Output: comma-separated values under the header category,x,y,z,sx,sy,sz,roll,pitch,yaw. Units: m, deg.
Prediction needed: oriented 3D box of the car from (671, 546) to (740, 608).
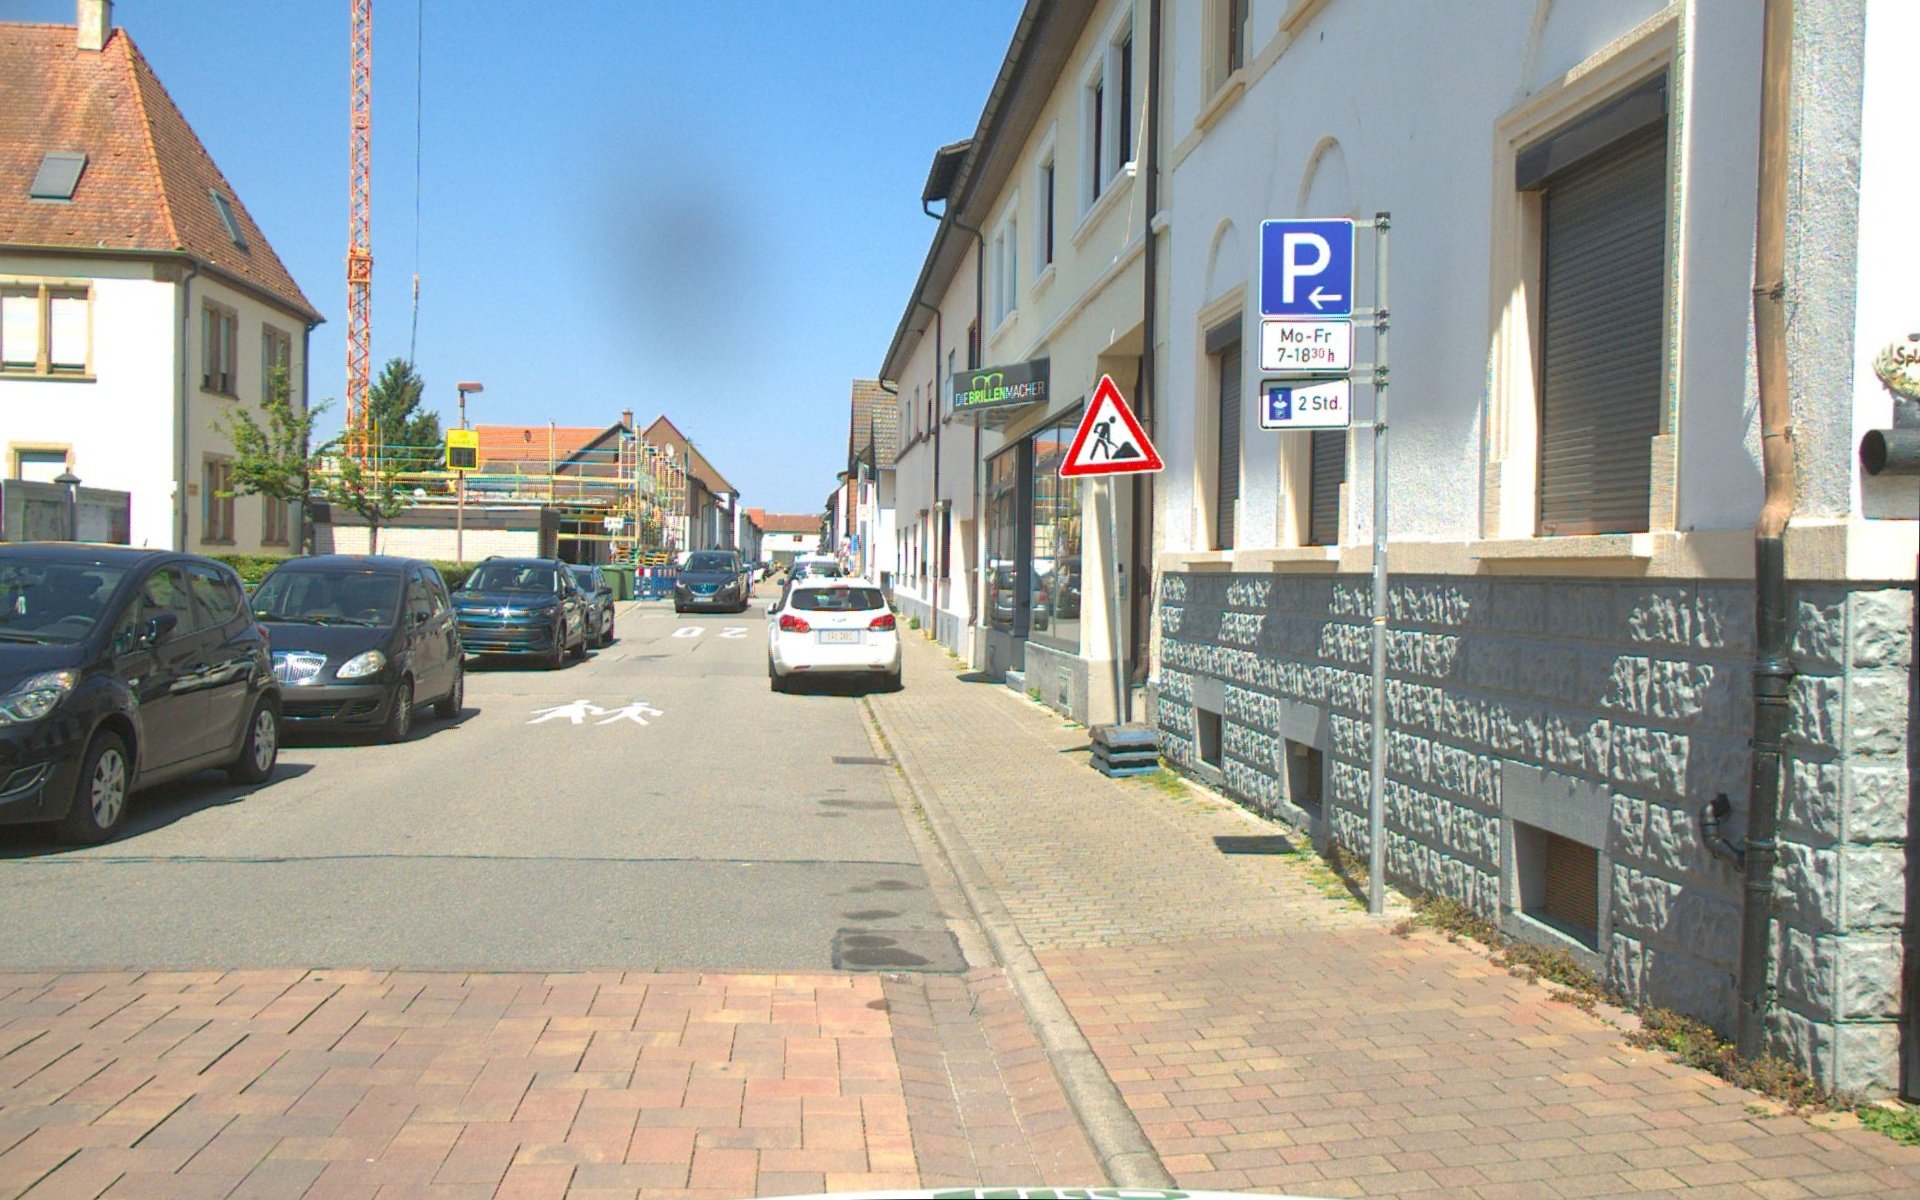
category,x,y,z,sx,sy,sz,roll,pitch,yaw
car,-7.322,-0.686,47.889,1.846,1.697,4.147,1,1,-7

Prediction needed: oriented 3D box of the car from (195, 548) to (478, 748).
category,x,y,z,sx,sy,sz,roll,pitch,yaw
car,-5.764,0.360,15.727,1.606,1.657,3.764,1,1,-6

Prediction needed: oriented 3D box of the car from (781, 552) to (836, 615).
category,x,y,z,sx,sy,sz,roll,pitch,yaw
car,-4.430,-0.519,48.146,1.534,1.641,3.539,1,3,-6

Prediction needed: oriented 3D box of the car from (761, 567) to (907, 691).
category,x,y,z,sx,sy,sz,roll,pitch,yaw
car,-1.819,0.332,23.330,1.850,1.568,4.238,1,1,-6

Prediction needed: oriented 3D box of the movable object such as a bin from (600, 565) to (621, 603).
category,x,y,z,sx,sy,sz,roll,pitch,yaw
movable object such as a bin,-10.756,-0.495,50.821,0.611,1.175,0.675,1,1,-13

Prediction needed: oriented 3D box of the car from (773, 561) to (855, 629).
category,x,y,z,sx,sy,sz,roll,pitch,yaw
car,-3.839,-0.171,43.010,1.849,1.583,3.887,-3,2,-8

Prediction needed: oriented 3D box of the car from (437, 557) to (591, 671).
category,x,y,z,sx,sy,sz,roll,pitch,yaw
car,-7.033,0.161,26.446,1.791,1.659,4.211,1,1,-7

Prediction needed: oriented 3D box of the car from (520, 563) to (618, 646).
category,x,y,z,sx,sy,sz,roll,pitch,yaw
car,-7.511,0.062,31.990,1.409,1.500,3.781,0,1,-7

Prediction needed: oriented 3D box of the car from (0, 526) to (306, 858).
category,x,y,z,sx,sy,sz,roll,pitch,yaw
car,-5.557,0.398,10.075,1.779,1.632,4.021,1,1,-4

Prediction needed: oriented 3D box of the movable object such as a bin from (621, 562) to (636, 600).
category,x,y,z,sx,sy,sz,roll,pitch,yaw
movable object such as a bin,-10.287,-0.583,51.365,0.424,1.175,0.363,1,1,-16
